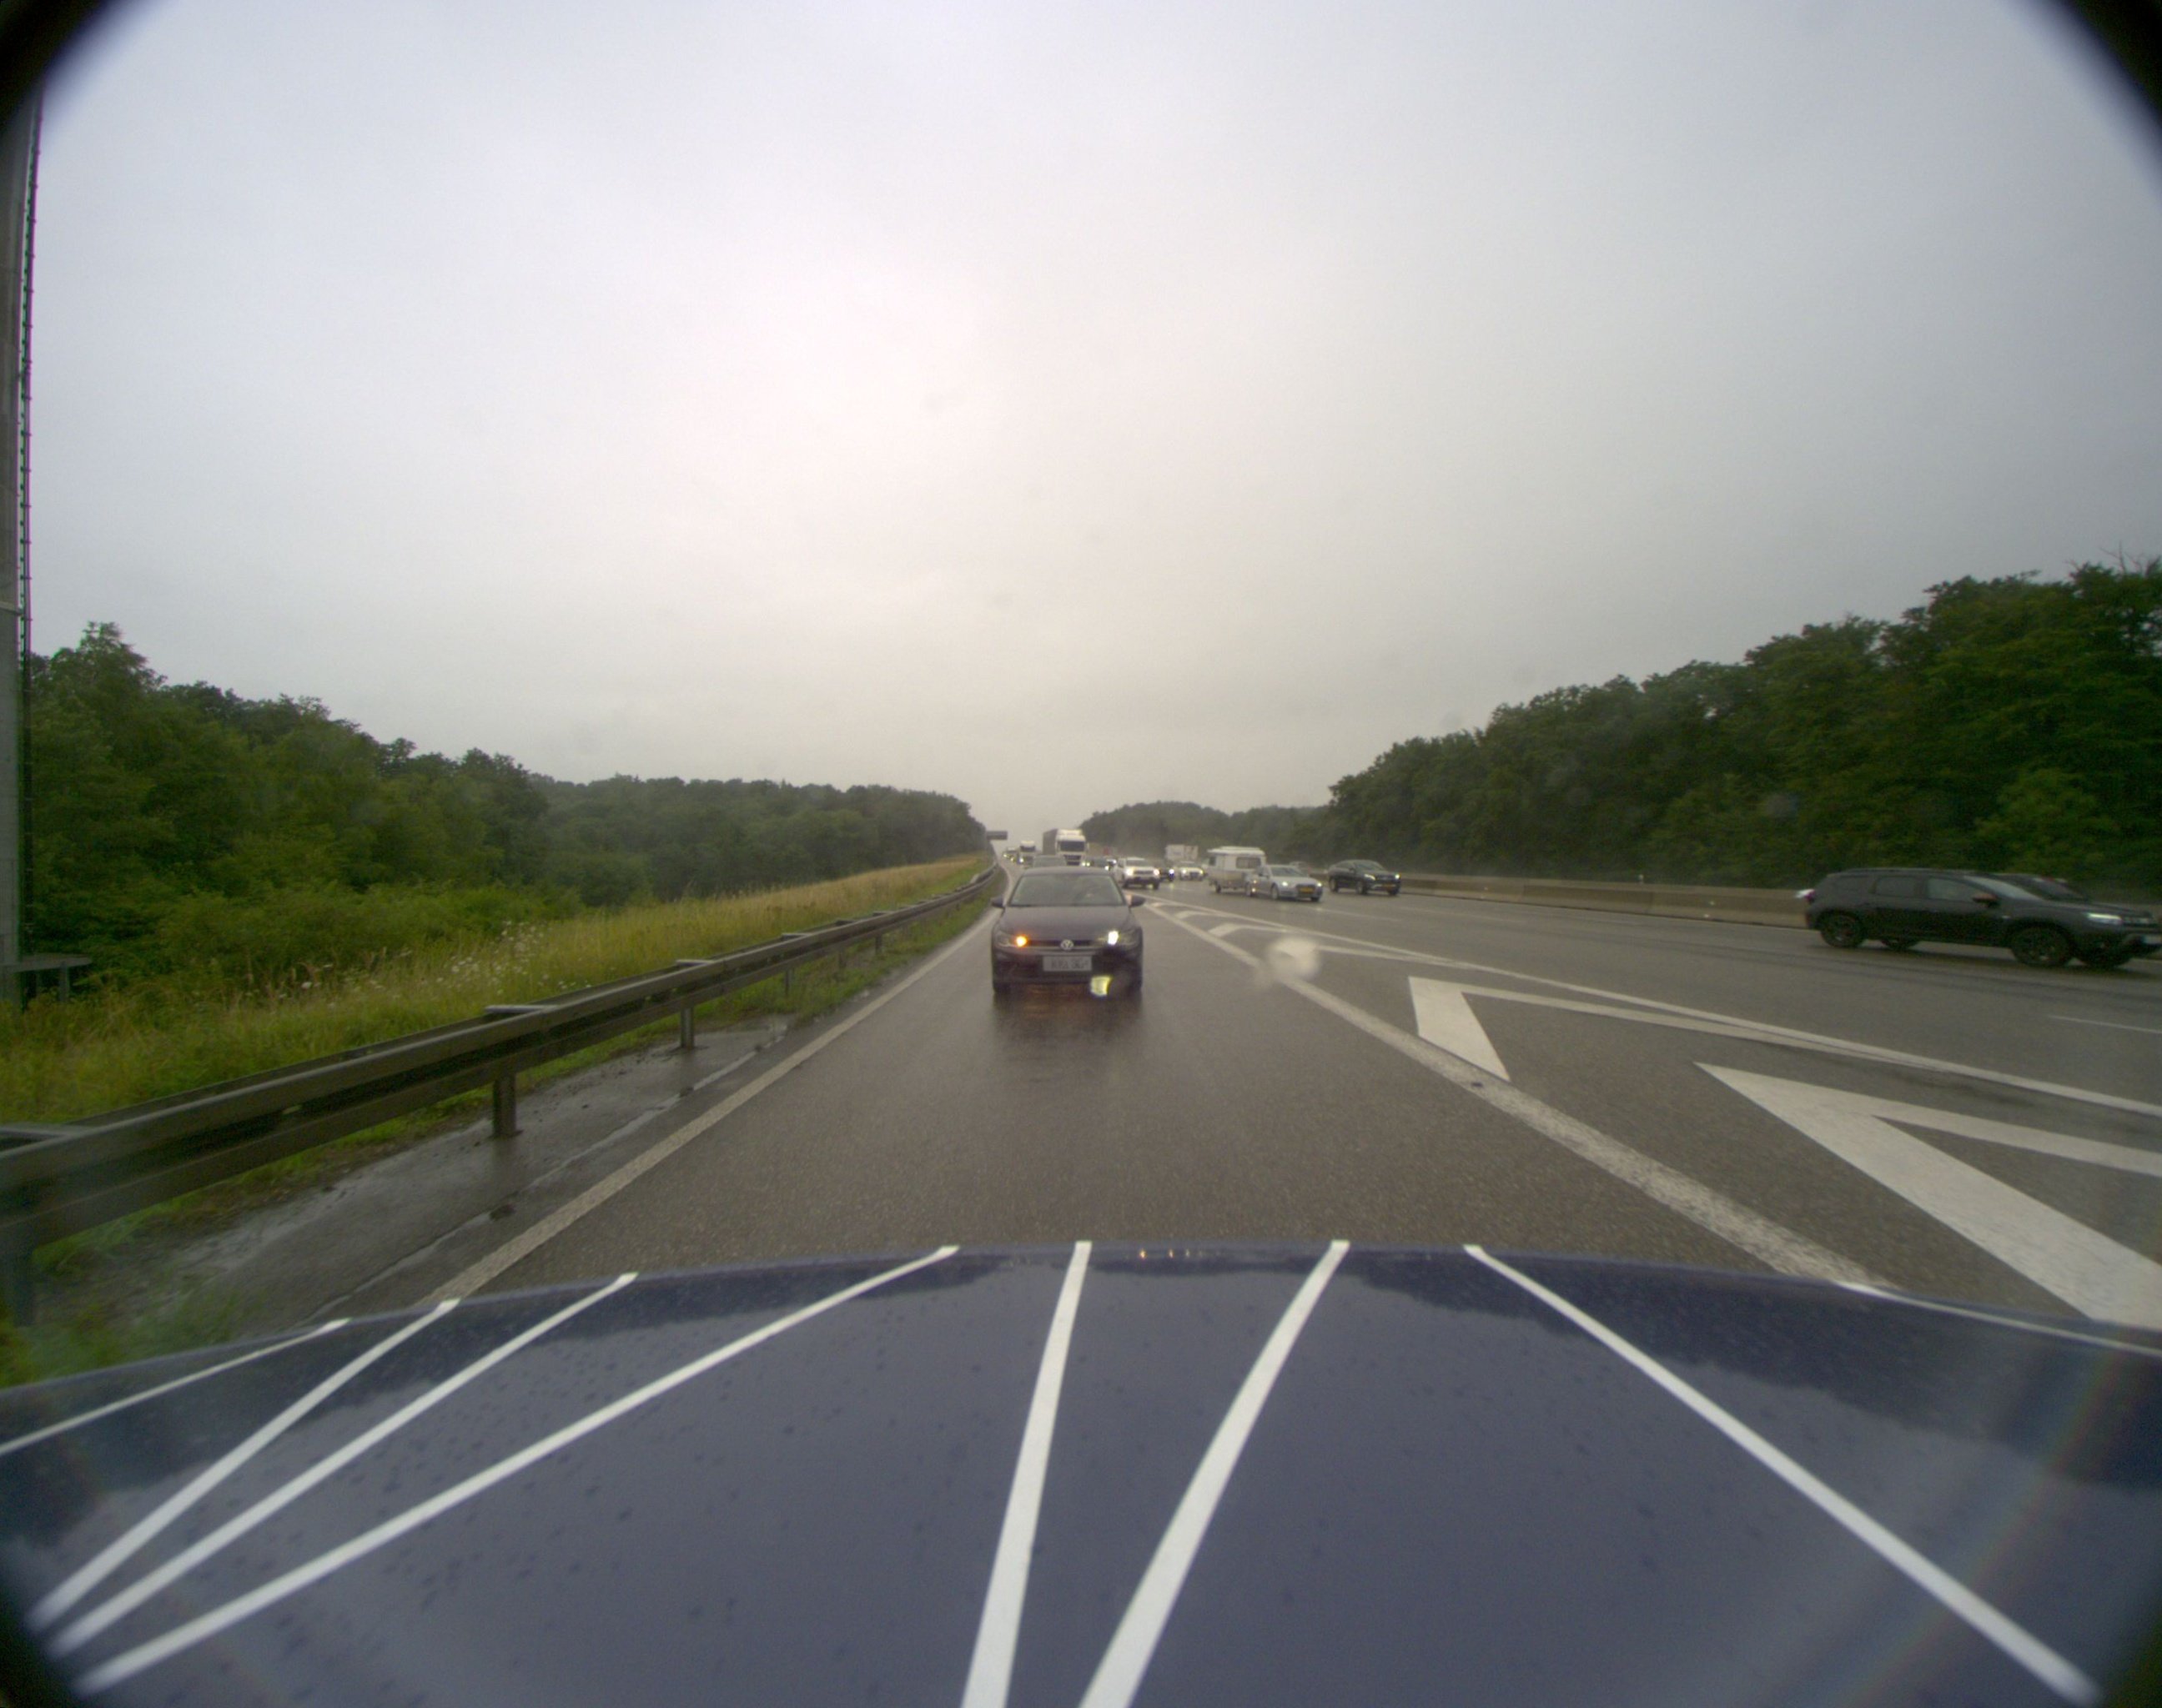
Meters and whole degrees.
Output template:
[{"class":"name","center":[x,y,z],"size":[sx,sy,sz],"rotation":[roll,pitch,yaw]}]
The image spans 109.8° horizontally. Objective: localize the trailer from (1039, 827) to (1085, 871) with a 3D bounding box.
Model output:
[{"class":"trailer","center":[-2.090,-0.468,76.313],"size":[2.904,3.959,14.107],"rotation":[1,0,-8]}]

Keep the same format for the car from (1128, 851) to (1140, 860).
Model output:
[{"class":"car","center":[11.908,0.396,171.089],"size":[2.000,2.002,4.663],"rotation":[0,0,-6]}]

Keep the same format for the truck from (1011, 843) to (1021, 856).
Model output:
[{"class":"truck","center":[-20.849,-1.479,243.789],"size":[2.597,4.120,5.229],"rotation":[-2,0,-2]}]

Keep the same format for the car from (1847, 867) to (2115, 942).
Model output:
[{"class":"car","center":[24.068,1.282,20.602],"size":[2.000,1.674,4.207],"rotation":[1,1,-10]}]

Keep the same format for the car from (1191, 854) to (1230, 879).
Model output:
[{"class":"car","center":[10.989,1.028,64.822],"size":[1.942,2.001,3.996],"rotation":[2,0,-10]}]

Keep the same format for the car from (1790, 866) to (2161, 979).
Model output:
[{"class":"car","center":[16.423,1.117,14.085],"size":[1.932,1.653,4.454],"rotation":[2,0,-12]}]

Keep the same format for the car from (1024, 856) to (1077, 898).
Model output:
[{"class":"car","center":[-1.173,0.883,31.088],"size":[1.810,1.532,4.000],"rotation":[-3,0,2]}]

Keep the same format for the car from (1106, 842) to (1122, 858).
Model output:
[{"class":"car","center":[10.225,-1.247,237.416],"size":[3.657,4.633,7.564],"rotation":[1,0,-7]}]

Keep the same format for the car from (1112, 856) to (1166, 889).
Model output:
[{"class":"car","center":[2.950,0.912,39.468],"size":[1.792,1.577,4.320],"rotation":[2,0,-9]}]

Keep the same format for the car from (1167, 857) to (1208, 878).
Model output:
[{"class":"car","center":[8.132,1.027,58.209],"size":[1.886,1.472,4.498],"rotation":[1,0,-9]}]

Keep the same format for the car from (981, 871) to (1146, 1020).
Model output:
[{"class":"car","center":[-0.177,1.004,10.061],"size":[1.670,1.394,4.261],"rotation":[-2,0,0]}]

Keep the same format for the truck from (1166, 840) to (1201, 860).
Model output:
[{"class":"truck","center":[19.645,-0.751,146.661],"size":[3.157,3.643,15.200],"rotation":[0,0,-6]}]

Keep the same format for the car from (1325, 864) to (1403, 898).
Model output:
[{"class":"car","center":[14.472,1.346,39.136],"size":[1.710,1.566,4.521],"rotation":[2,0,-9]}]

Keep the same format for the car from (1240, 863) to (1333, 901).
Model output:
[{"class":"car","center":[8.196,1.083,30.752],"size":[1.852,1.340,4.578],"rotation":[2,0,-10]}]

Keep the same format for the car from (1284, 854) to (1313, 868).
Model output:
[{"class":"car","center":[26.411,0.849,92.385],"size":[1.691,1.739,3.996],"rotation":[0,0,-10]}]

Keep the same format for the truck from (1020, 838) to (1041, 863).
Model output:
[{"class":"truck","center":[-8.493,-0.564,126.984],"size":[2.759,3.984,6.503],"rotation":[2,0,-9]}]

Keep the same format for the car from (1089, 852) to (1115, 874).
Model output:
[{"class":"car","center":[1.999,0.859,74.762],"size":[2.000,2.002,3.997],"rotation":[1,0,-7]}]

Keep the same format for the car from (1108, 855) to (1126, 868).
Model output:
[{"class":"car","center":[5.296,1.073,112.343],"size":[1.734,1.781,3.891],"rotation":[2,0,-11]}]

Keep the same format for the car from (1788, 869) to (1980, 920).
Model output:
[{"class":"car","center":[27.461,1.342,26.224],"size":[1.794,1.518,4.331],"rotation":[1,0,-7]}]

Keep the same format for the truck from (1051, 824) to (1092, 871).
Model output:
[{"class":"truck","center":[-0.920,-0.526,68.311],"size":[2.882,4.028,5.929],"rotation":[1,0,-8]}]

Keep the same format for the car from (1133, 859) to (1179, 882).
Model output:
[{"class":"car","center":[5.138,1.110,52.591],"size":[1.887,1.472,4.497],"rotation":[1,0,-12]}]

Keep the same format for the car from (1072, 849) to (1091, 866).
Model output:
[{"class":"car","center":[0.030,0.419,92.093],"size":[1.816,2.002,3.998],"rotation":[1,0,-5]}]

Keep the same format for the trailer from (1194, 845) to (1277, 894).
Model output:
[{"class":"trailer","center":[7.332,0.701,36.665],"size":[2.136,2.143,5.175],"rotation":[2,0,-10]}]
